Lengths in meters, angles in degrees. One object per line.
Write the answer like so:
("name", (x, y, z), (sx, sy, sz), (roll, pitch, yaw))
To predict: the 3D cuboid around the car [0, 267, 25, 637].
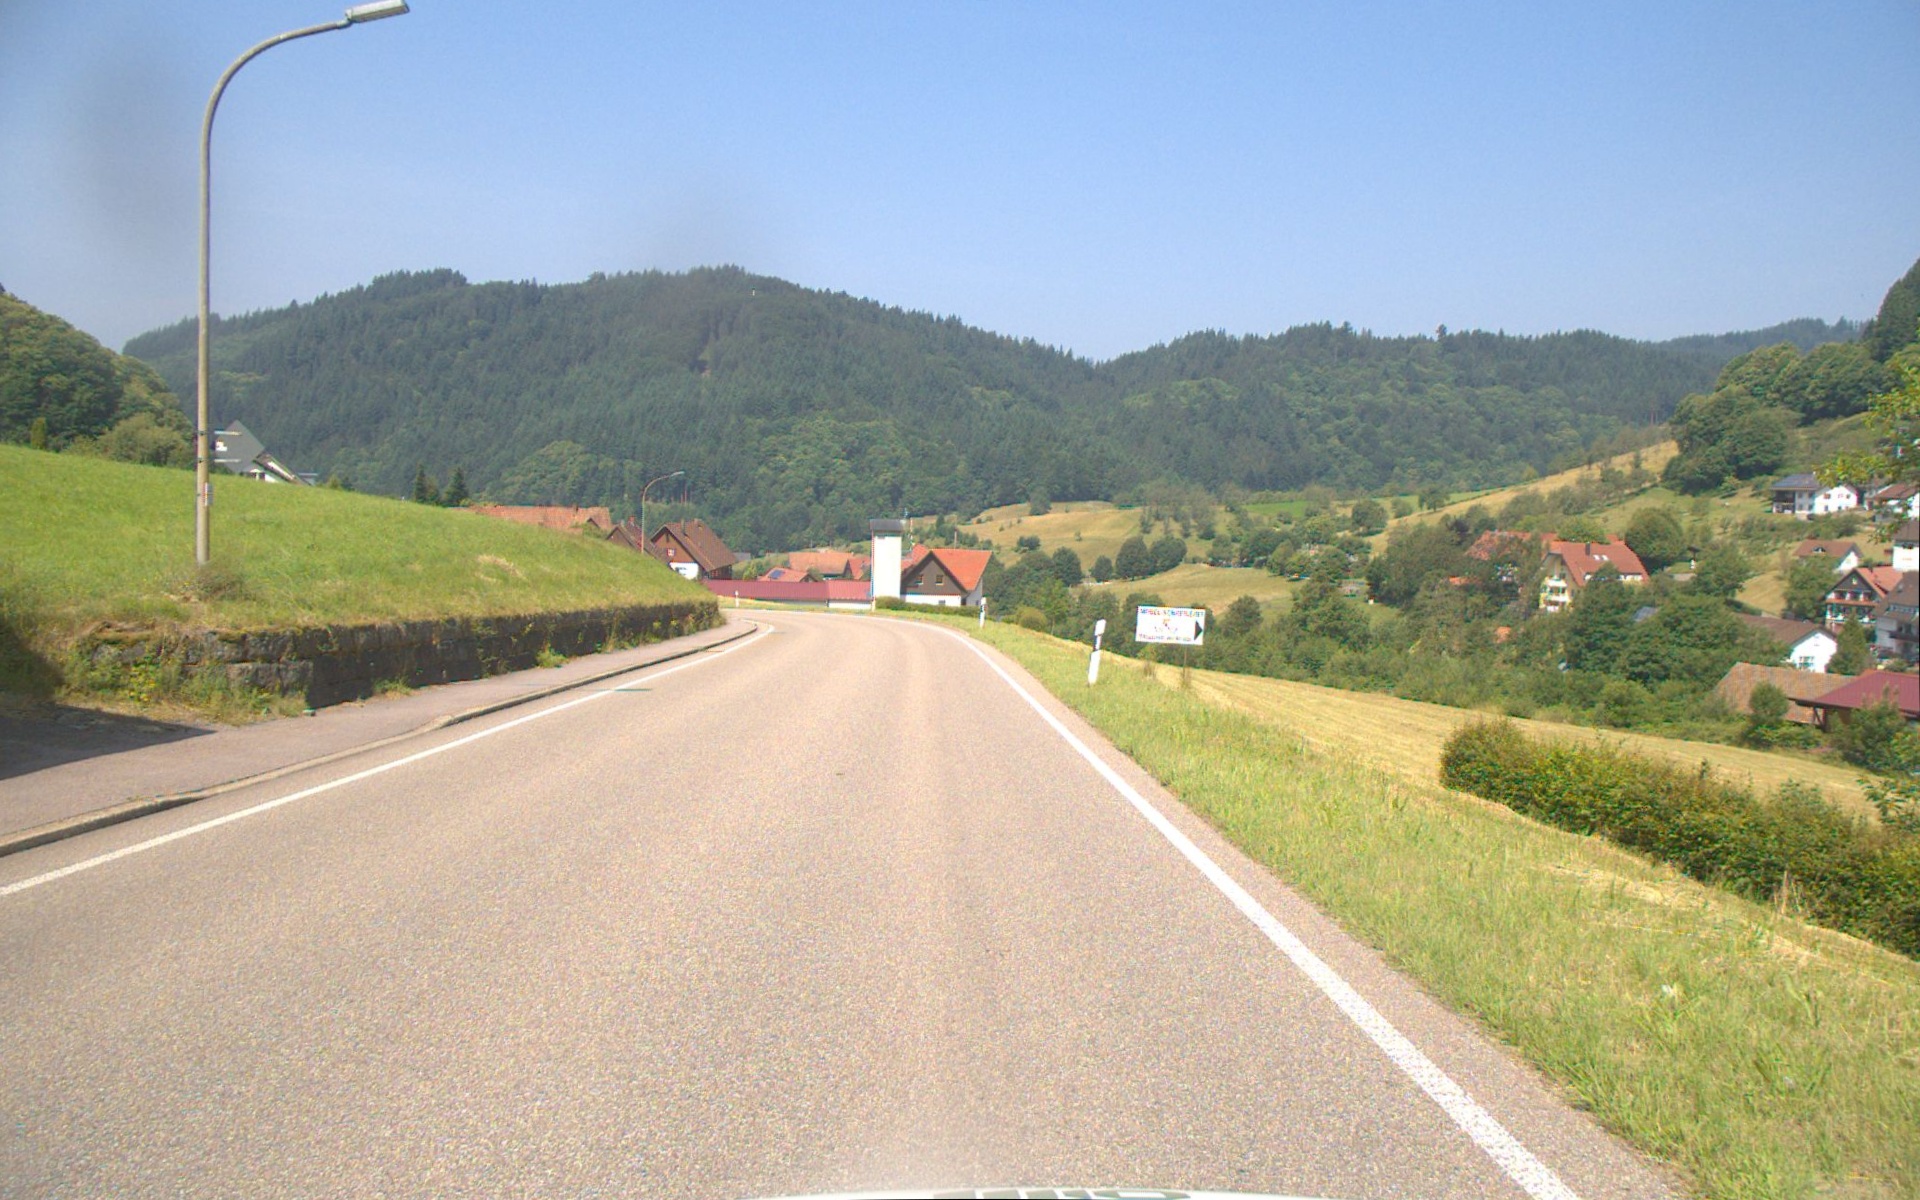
("car", (-7.985, -0.926, 8.888), (2.026, 2.734, 7.173), (3, 4, -2))
